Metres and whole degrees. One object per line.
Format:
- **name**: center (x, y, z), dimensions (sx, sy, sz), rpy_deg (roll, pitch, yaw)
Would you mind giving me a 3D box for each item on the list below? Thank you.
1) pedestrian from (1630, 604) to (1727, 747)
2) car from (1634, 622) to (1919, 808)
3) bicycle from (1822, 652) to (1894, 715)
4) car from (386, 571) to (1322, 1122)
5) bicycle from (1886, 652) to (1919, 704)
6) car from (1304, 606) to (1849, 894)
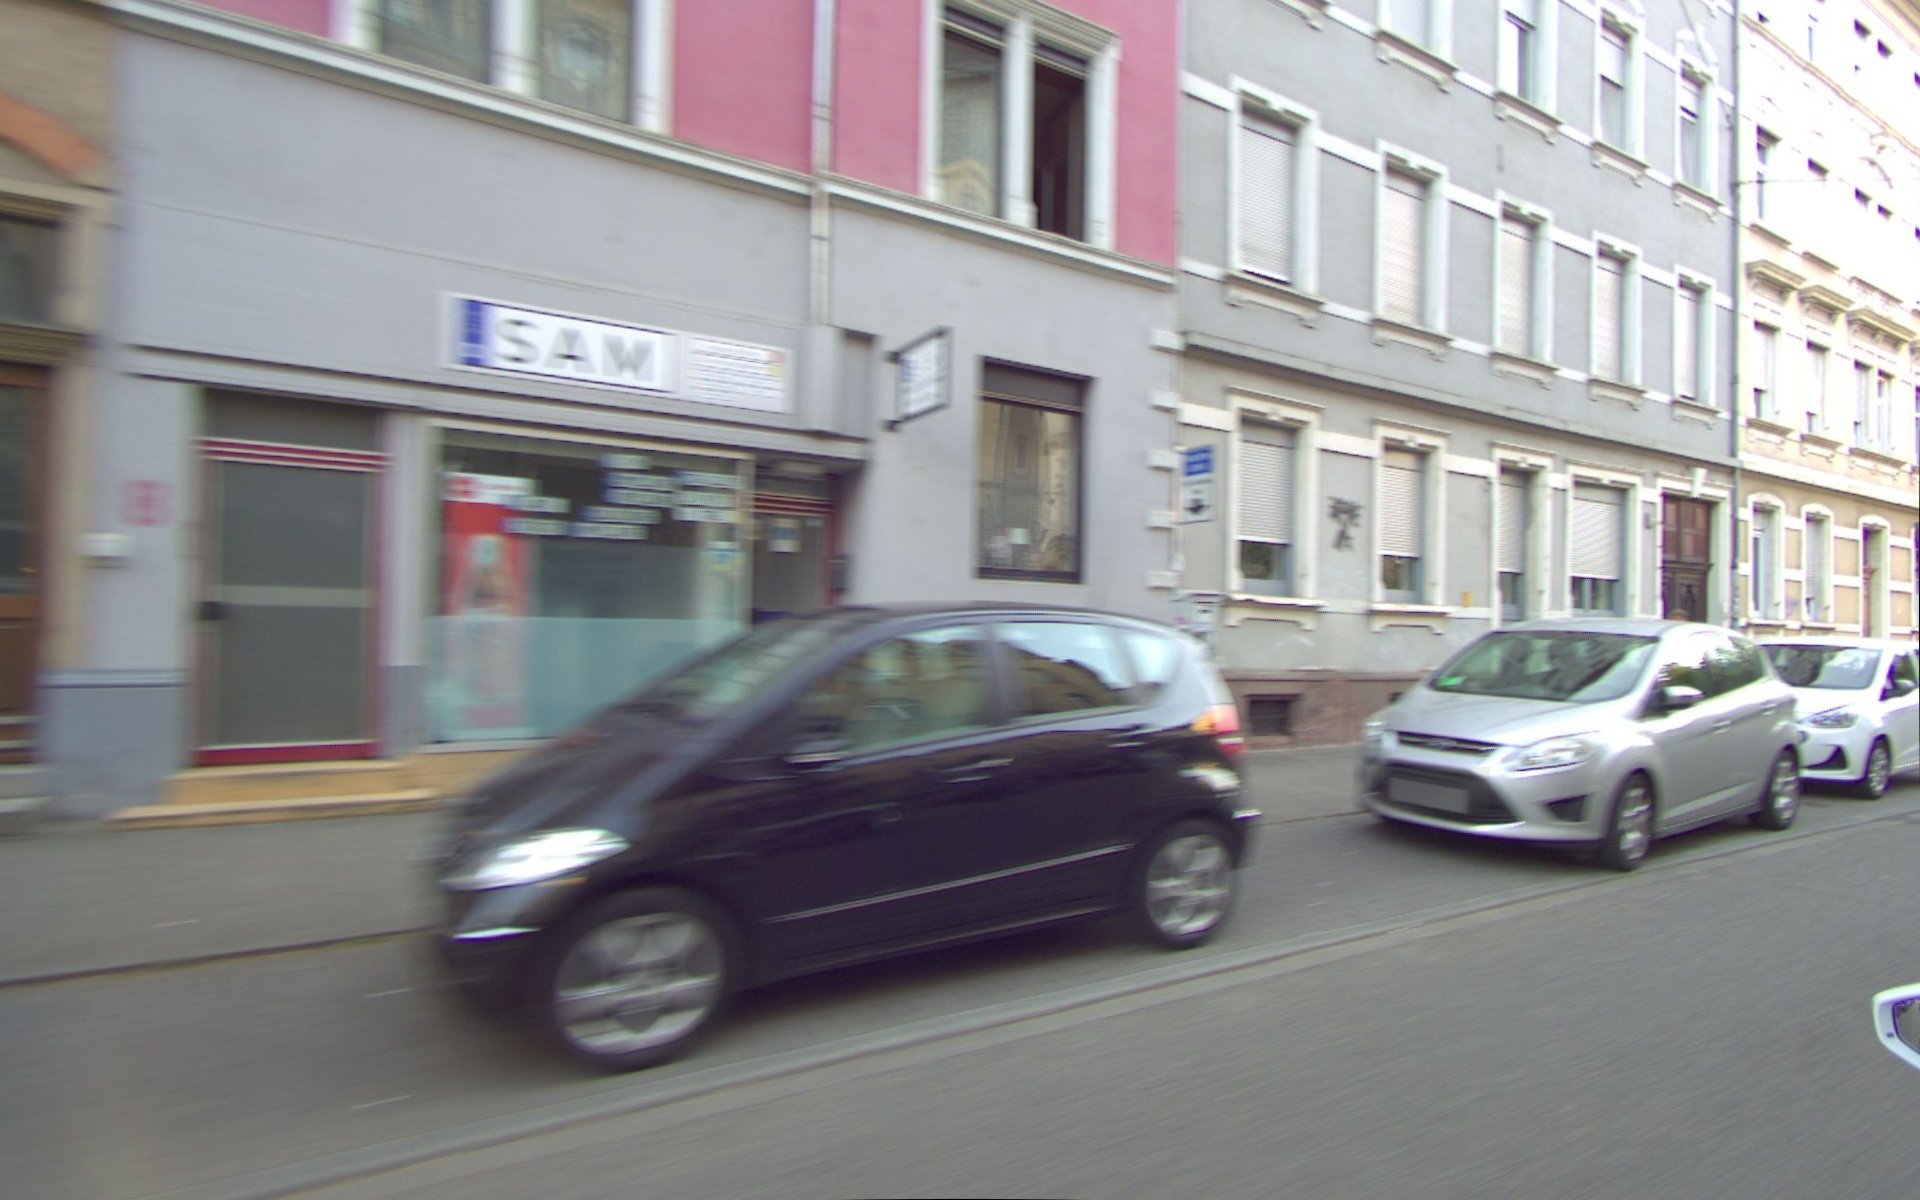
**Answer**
- **pedestrian**: center (10.290, 1.058, 14.395), dimensions (0.823, 1.974, 0.846), rpy_deg (1, -2, -27)
- **car**: center (9.158, 1.099, 10.718), dimensions (3.882, 1.597, 1.744), rpy_deg (2, 0, -31)
- **bicycle**: center (17.437, 1.597, 19.494), dimensions (1.841, 1.155, 0.477), rpy_deg (1, -2, -30)
- **car**: center (-0.367, 0.759, 4.732), dimensions (4.011, 1.614, 1.744), rpy_deg (2, 0, -31)
- **bicycle**: center (21.030, 1.698, 22.015), dimensions (1.815, 1.084, 0.658), rpy_deg (2, -2, -33)
- **car**: center (4.942, 0.928, 7.823), dimensions (4.623, 1.614, 1.822), rpy_deg (2, 0, -34)
